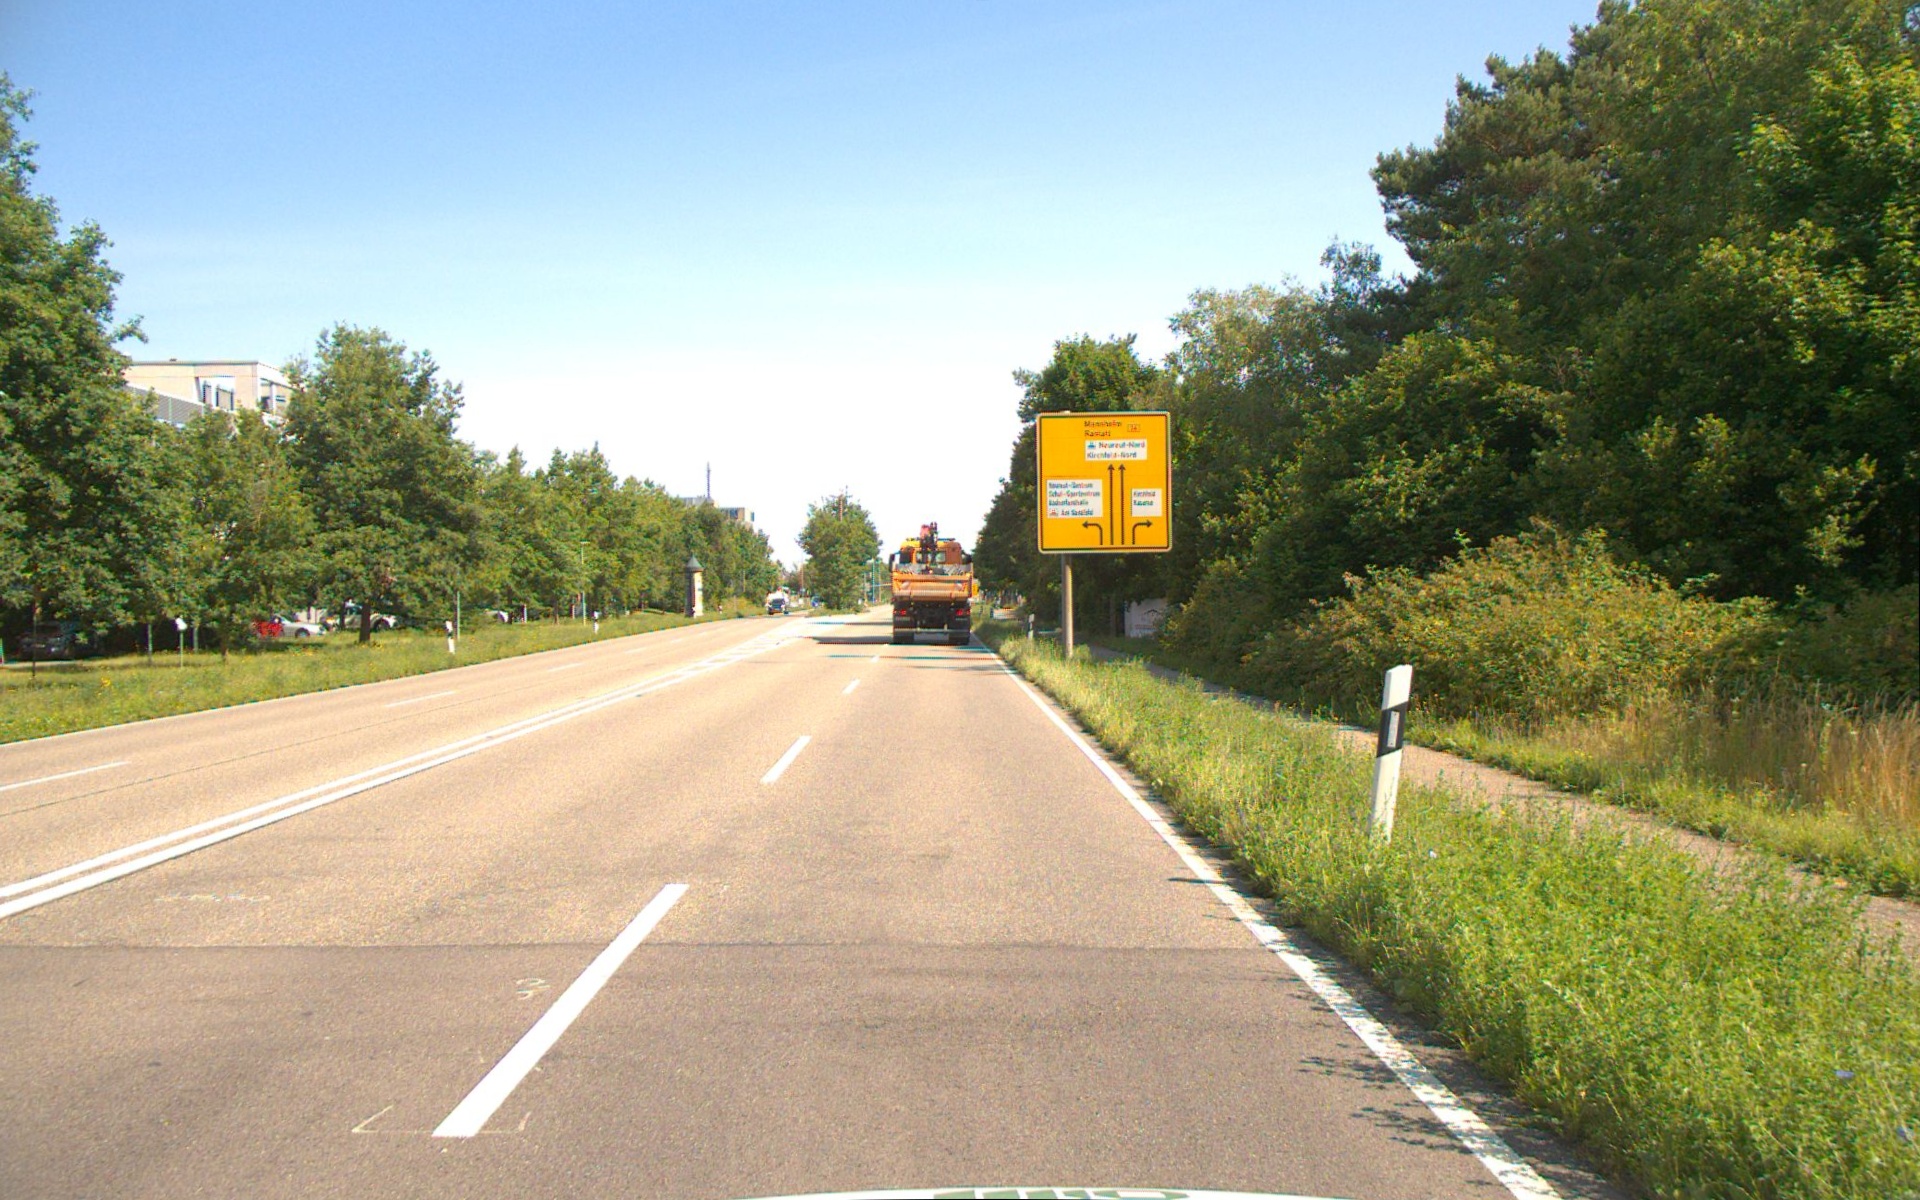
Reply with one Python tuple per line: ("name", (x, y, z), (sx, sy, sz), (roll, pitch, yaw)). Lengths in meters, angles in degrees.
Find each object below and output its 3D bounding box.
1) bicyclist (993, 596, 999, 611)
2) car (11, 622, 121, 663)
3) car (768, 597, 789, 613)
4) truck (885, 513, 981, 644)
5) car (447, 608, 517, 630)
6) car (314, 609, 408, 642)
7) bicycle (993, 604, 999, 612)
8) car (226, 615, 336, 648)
("bicyclist", (3.722, 0.354, 171.316), (0.547, 1.585, 0.557), (-2, 0, -2))
("car", (-35.699, 1.682, 66.181), (1.953, 1.462, 4.609), (-1, 0, -1))
("car", (-18.770, 0.492, 170.999), (1.764, 1.599, 3.999), (-2, 0, -1))
("truck", (-0.993, -0.669, 54.253), (2.815, 3.948, 7.395), (1, 0, -3))
("car", (-34.488, 1.333, 119.382), (4.502, 1.462, 1.999), (-1, 0, -2))
("car", (-33.423, 1.416, 92.374), (4.502, 1.679, 1.999), (-1, 0, -2))
("bicycle", (3.734, 0.847, 171.311), (0.547, 0.830, 1.963), (-2, 0, -1))
("car", (-32.951, 1.531, 80.384), (4.502, 1.462, 1.999), (-1, 0, -2))
